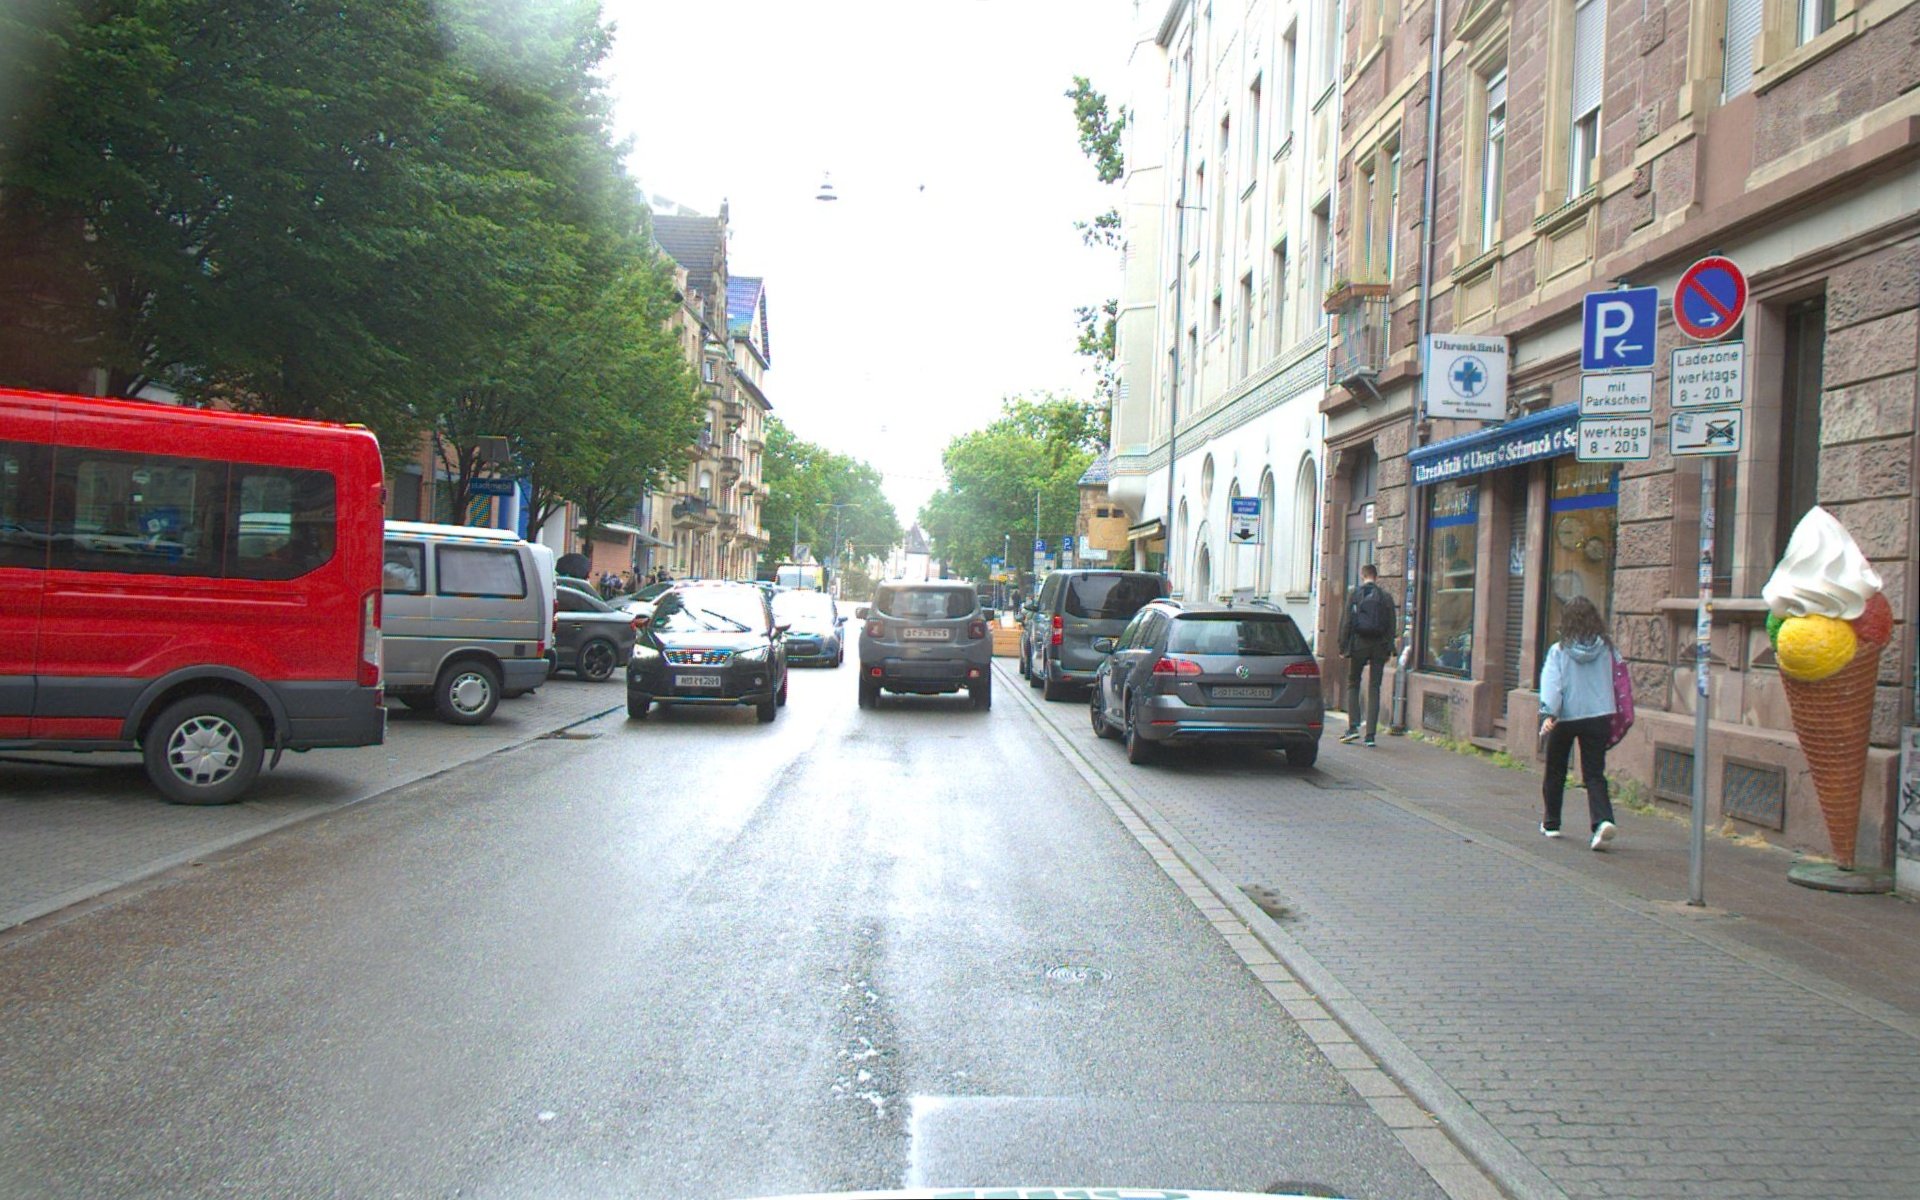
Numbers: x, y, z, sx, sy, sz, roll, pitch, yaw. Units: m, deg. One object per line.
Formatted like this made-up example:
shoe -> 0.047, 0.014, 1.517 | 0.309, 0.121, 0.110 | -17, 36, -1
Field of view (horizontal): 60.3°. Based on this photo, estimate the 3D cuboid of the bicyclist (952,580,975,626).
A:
bicyclist -> 0.102, 0.082, 52.151 | 0.690, 1.428, 1.171 | 1, 0, -1

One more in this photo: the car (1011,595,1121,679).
car -> 1.914, 0.637, 30.774 | 1.675, 1.425, 3.703 | 1, 0, -2

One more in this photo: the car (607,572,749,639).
car -> -7.437, 0.145, 43.688 | 3.346, 1.683, 1.614 | 1, 0, -35

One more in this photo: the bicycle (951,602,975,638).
bicycle -> 0.086, 0.627, 52.151 | 0.690, 1.072, 1.812 | 1, 0, -1

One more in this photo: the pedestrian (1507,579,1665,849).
pedestrian -> 3.974, 0.699, 10.545 | 0.665, 1.642, 0.810 | 1, 0, -1

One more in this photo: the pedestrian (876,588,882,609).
pedestrian -> -6.172, -0.118, 125.983 | 0.458, 1.613, 0.752 | 2, 0, -2

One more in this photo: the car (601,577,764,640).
car -> -6.903, 0.221, 41.228 | 3.674, 1.477, 1.664 | 1, 0, -37

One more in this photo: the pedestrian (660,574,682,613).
pedestrian -> -12.297, -0.280, 70.361 | 0.694, 1.578, 0.608 | 4, 0, 5

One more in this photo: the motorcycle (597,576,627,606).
motorcycle -> -14.587, -0.385, 69.330 | 0.738, 1.194, 2.115 | 5, 0, -1

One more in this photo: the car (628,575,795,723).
car -> -2.957, 0.544, 20.379 | 1.636, 1.586, 4.000 | 2, 0, -4

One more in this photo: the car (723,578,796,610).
car -> -11.342, -0.336, 93.528 | 3.626, 1.586, 1.776 | 4, -1, -38

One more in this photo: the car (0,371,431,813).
car -> -6.444, -0.095, 10.483 | 5.494, 2.585, 2.208 | 3, 0, -29

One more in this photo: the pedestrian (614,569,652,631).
pedestrian -> -9.730, 0.004, 49.279 | 0.808, 1.782, 0.757 | 4, 0, 5

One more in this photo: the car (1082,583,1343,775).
car -> 2.289, 0.666, 16.005 | 1.804, 1.572, 4.002 | 2, 0, -1

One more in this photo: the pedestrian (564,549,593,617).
pedestrian -> -9.861, -0.431, 42.766 | 0.599, 1.737, 0.433 | 2, -2, -1

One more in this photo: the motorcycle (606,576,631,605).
motorcycle -> -14.752, -0.425, 71.478 | 0.739, 1.194, 2.113 | 5, 0, -5

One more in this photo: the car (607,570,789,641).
car -> -7.415, 0.155, 46.893 | 4.472, 1.566, 2.310 | 7, -3, -34

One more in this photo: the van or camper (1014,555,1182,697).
van or camper -> 1.998, 0.344, 25.438 | 1.981, 1.924, 5.053 | 1, 0, -2

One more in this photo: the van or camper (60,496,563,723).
van or camper -> -6.470, 0.148, 16.705 | 4.396, 2.009, 1.760 | 3, 0, -35

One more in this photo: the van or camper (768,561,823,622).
van or camper -> -7.685, -0.333, 77.877 | 2.078, 2.575, 6.871 | -1, -2, -2

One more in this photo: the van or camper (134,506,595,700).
van or camper -> -7.120, 0.079, 20.064 | 4.660, 1.986, 2.301 | 4, 1, -43

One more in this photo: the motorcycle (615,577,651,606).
motorcycle -> -14.534, -0.382, 73.608 | 0.737, 1.194, 2.117 | 5, 0, 11

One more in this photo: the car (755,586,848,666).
car -> -3.188, 0.503, 33.852 | 1.636, 1.491, 4.001 | 2, 0, -2

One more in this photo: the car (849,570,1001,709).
car -> -0.531, 0.490, 23.084 | 1.861, 1.700, 4.503 | 2, 0, -2

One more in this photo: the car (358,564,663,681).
car -> -6.577, 0.358, 24.433 | 3.944, 1.472, 1.741 | 4, 0, -42

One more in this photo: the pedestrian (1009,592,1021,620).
pedestrian -> 3.468, 0.389, 103.683 | 0.677, 1.741, 0.684 | 1, 0, -1

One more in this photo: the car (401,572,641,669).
car -> -7.154, 0.324, 27.108 | 3.454, 1.460, 1.625 | 1, 0, -44

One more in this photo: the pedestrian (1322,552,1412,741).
pedestrian -> 4.372, 0.495, 17.744 | 0.667, 1.968, 0.807 | 1, -2, 34

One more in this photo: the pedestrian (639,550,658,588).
pedestrian -> -14.730, -1.452, 78.200 | 0.652, 1.788, 0.790 | 1, 0, -25
